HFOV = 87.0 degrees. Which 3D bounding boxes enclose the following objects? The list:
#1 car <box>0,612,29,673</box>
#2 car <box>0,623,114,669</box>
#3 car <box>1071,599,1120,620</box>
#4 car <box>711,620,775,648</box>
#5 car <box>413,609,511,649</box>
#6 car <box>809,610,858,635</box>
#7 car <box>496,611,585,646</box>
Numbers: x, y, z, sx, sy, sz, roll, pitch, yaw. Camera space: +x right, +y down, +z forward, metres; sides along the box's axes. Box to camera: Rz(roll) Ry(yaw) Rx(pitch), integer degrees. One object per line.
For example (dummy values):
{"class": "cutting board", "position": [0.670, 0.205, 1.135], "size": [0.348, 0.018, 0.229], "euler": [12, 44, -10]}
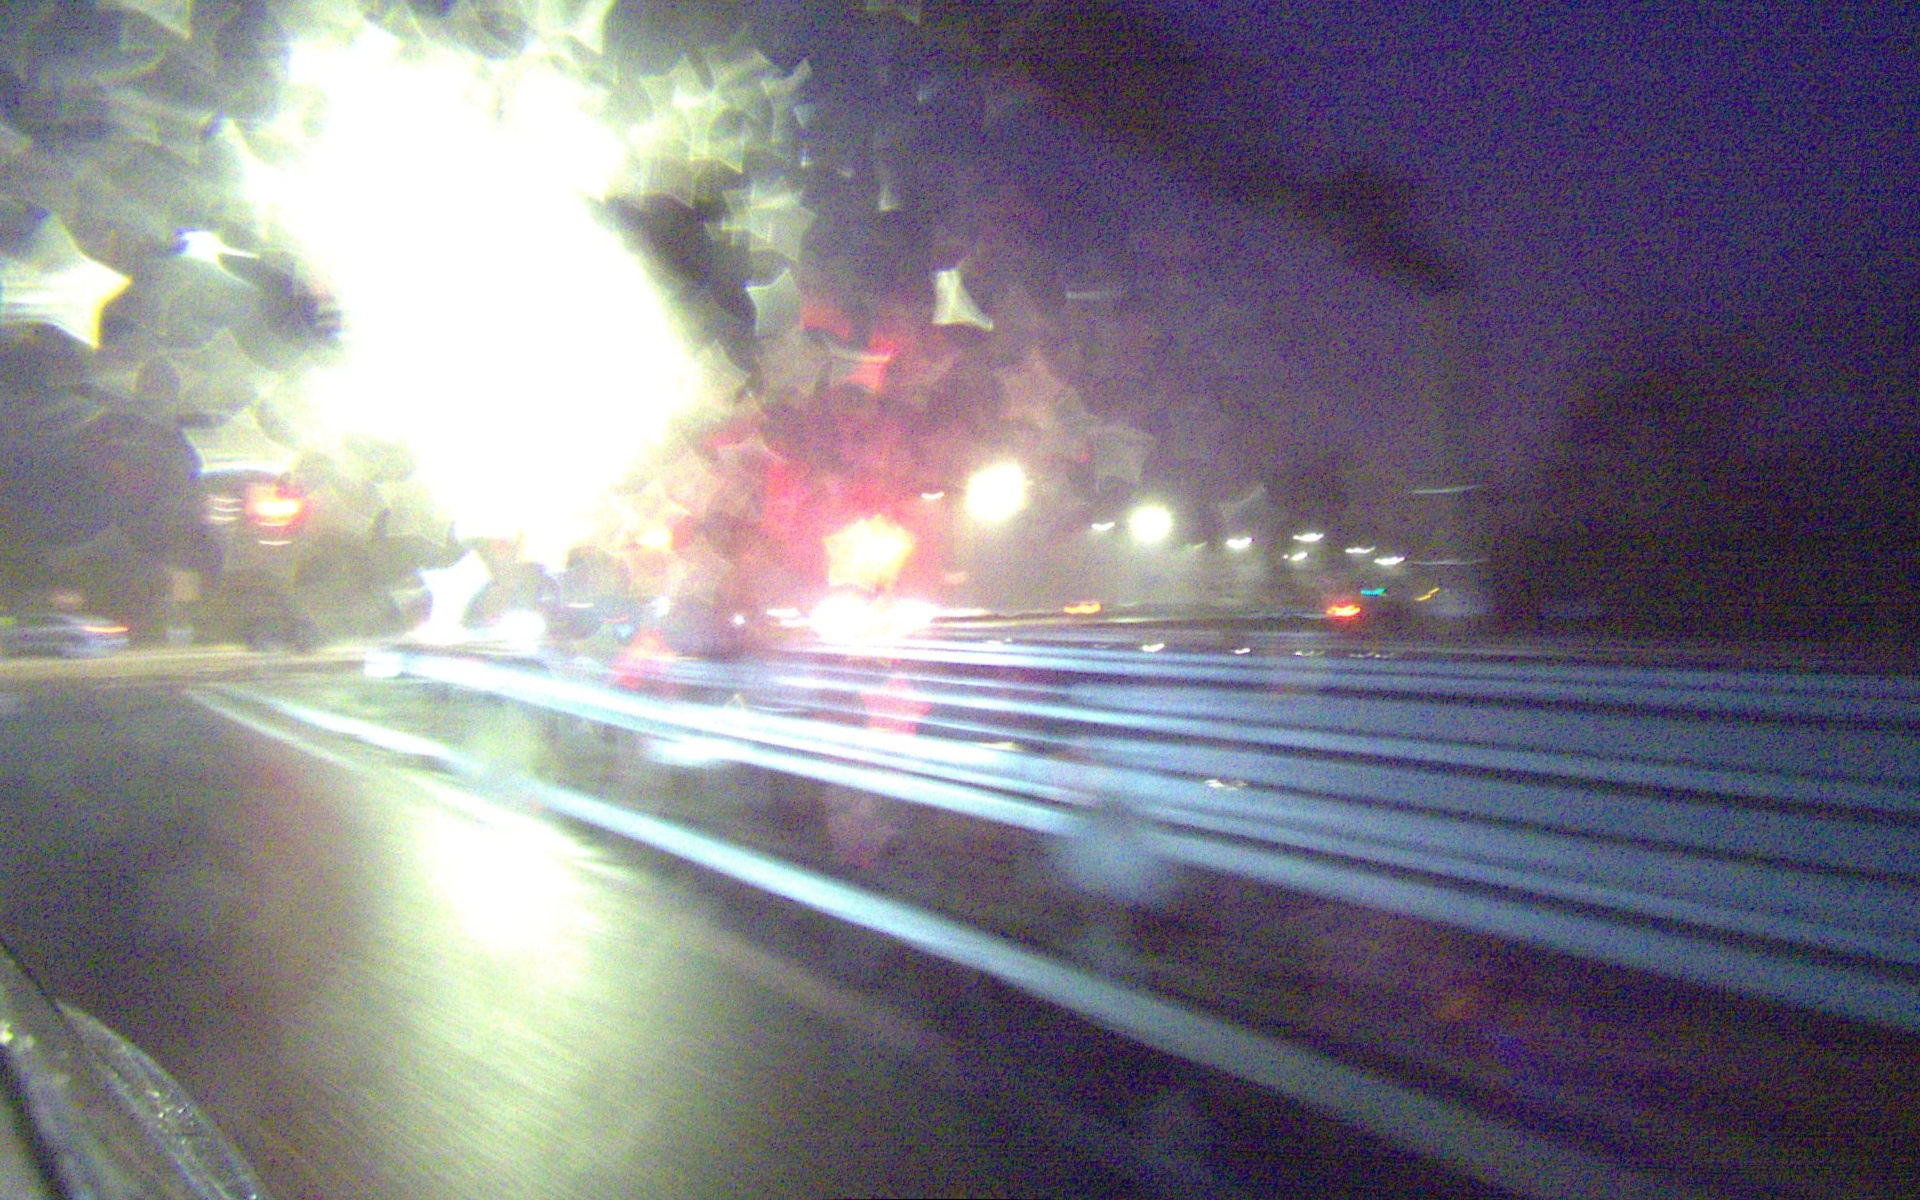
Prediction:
{"class": "car", "position": [-33.648, 1.434, 33.172], "size": [1.890, 2.032, 4.303], "euler": [-1, -1, 34]}
{"class": "car", "position": [-30.124, 1.461, 32.382], "size": [1.647, 1.369, 4.404], "euler": [-1, -1, 33]}
{"class": "car", "position": [9.880, 0.687, 73.622], "size": [1.798, 1.463, 4.218], "euler": [-1, -1, 35]}
{"class": "car", "position": [-13.189, 2.026, 61.681], "size": [1.749, 1.554, 3.755], "euler": [-1, 0, 29]}
{"class": "car", "position": [-24.251, 1.391, 49.393], "size": [1.750, 1.854, 3.970], "euler": [-1, -1, 33]}
{"class": "car", "position": [-9.052, 1.611, 72.832], "size": [1.605, 1.687, 3.755], "euler": [-1, -1, 28]}
{"class": "car", "position": [-18.502, 1.240, 44.710], "size": [1.590, 1.438, 3.313], "euler": [-1, 0, 33]}
